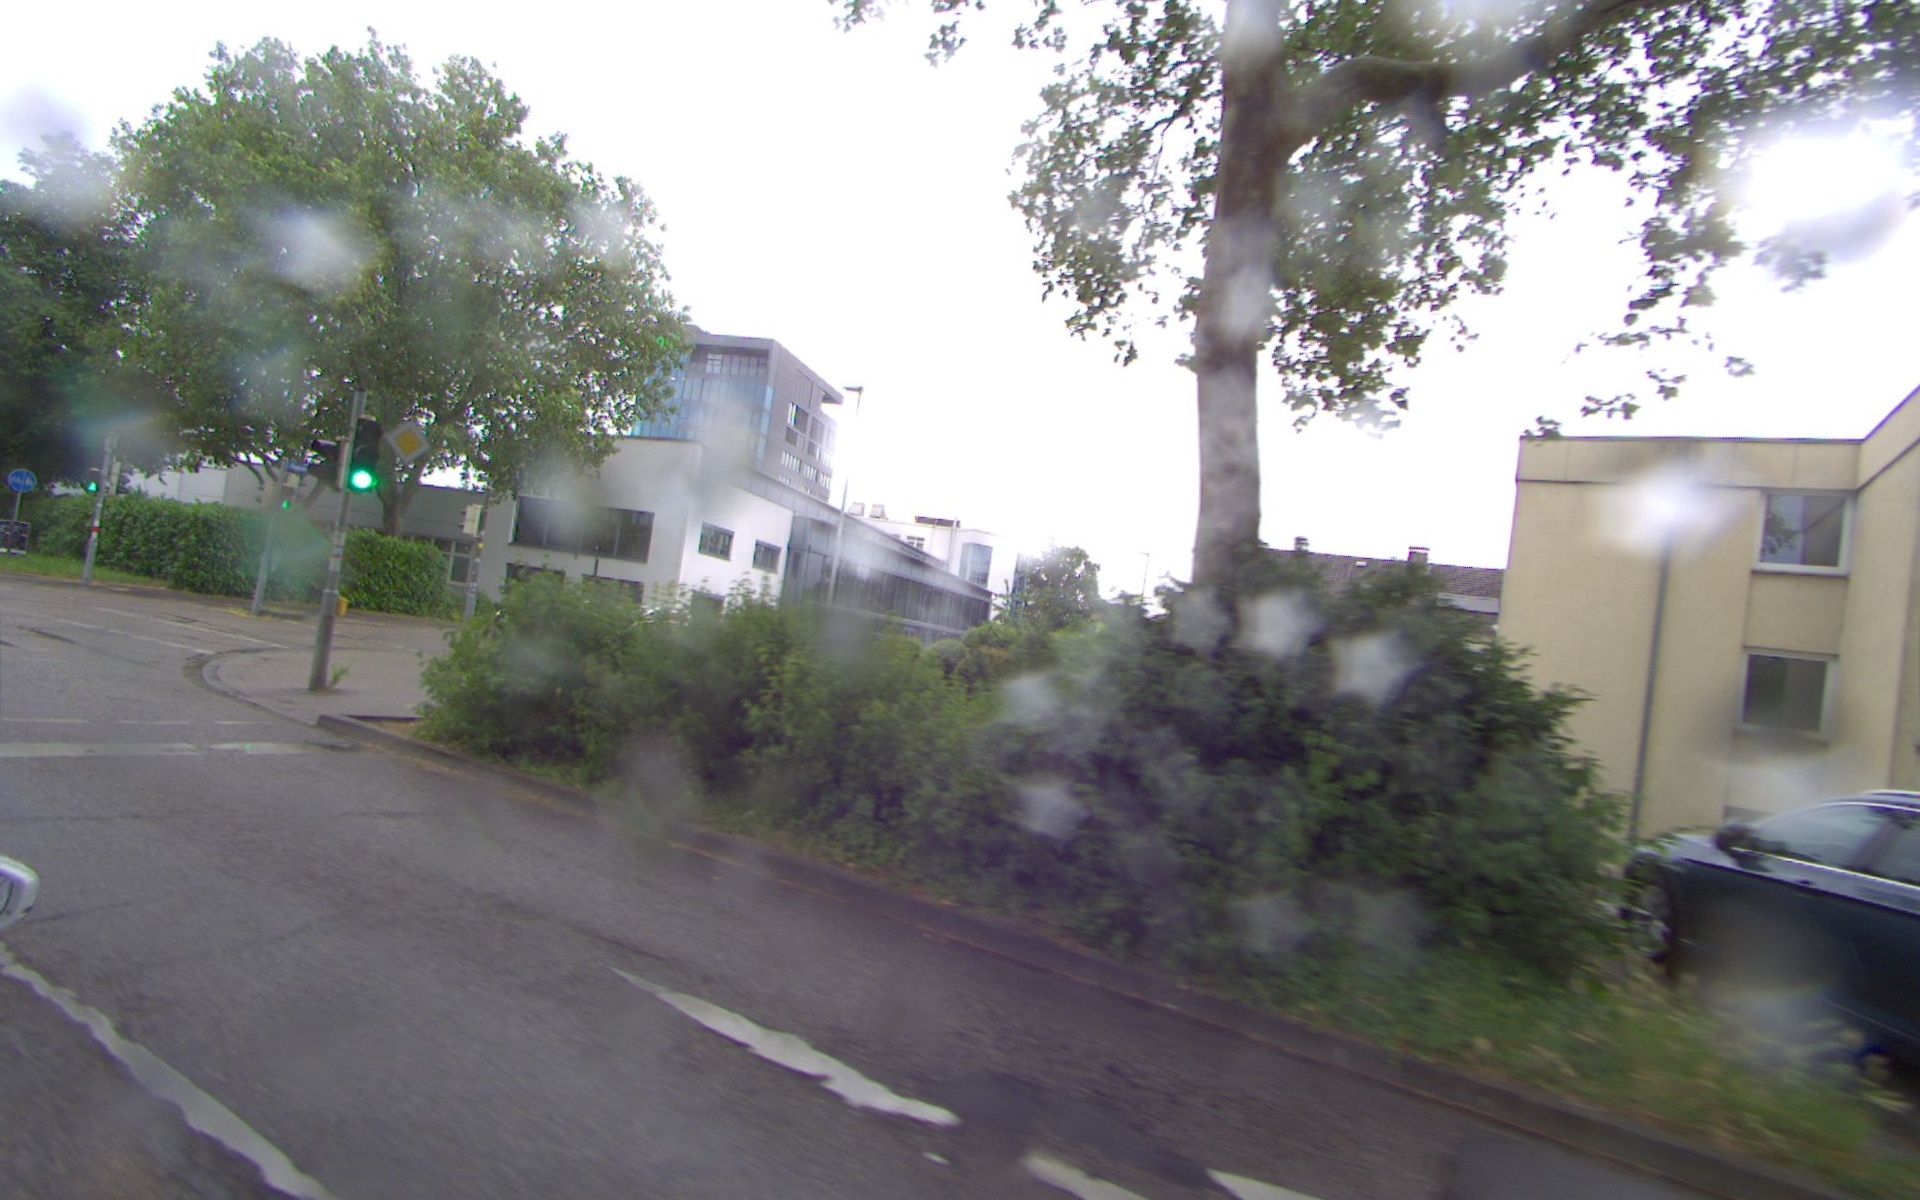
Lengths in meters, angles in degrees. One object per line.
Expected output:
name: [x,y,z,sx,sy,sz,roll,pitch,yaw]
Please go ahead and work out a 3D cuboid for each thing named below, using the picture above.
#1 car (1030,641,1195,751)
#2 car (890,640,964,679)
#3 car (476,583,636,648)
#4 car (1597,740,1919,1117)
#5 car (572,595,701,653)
car: [3.255,1.984,20.554,1.750,1.777,4.550,7,-2,28]
car: [-1.699,3.182,53.604,1.796,1.608,4.302,7,-3,31]
car: [-12.689,0.531,31.854,1.822,1.500,4.387,6,-3,31]
car: [5.346,1.749,5.117,1.716,1.475,4.503,7,-2,8]
car: [-12.006,0.945,37.643,1.857,1.608,4.302,7,-3,31]
